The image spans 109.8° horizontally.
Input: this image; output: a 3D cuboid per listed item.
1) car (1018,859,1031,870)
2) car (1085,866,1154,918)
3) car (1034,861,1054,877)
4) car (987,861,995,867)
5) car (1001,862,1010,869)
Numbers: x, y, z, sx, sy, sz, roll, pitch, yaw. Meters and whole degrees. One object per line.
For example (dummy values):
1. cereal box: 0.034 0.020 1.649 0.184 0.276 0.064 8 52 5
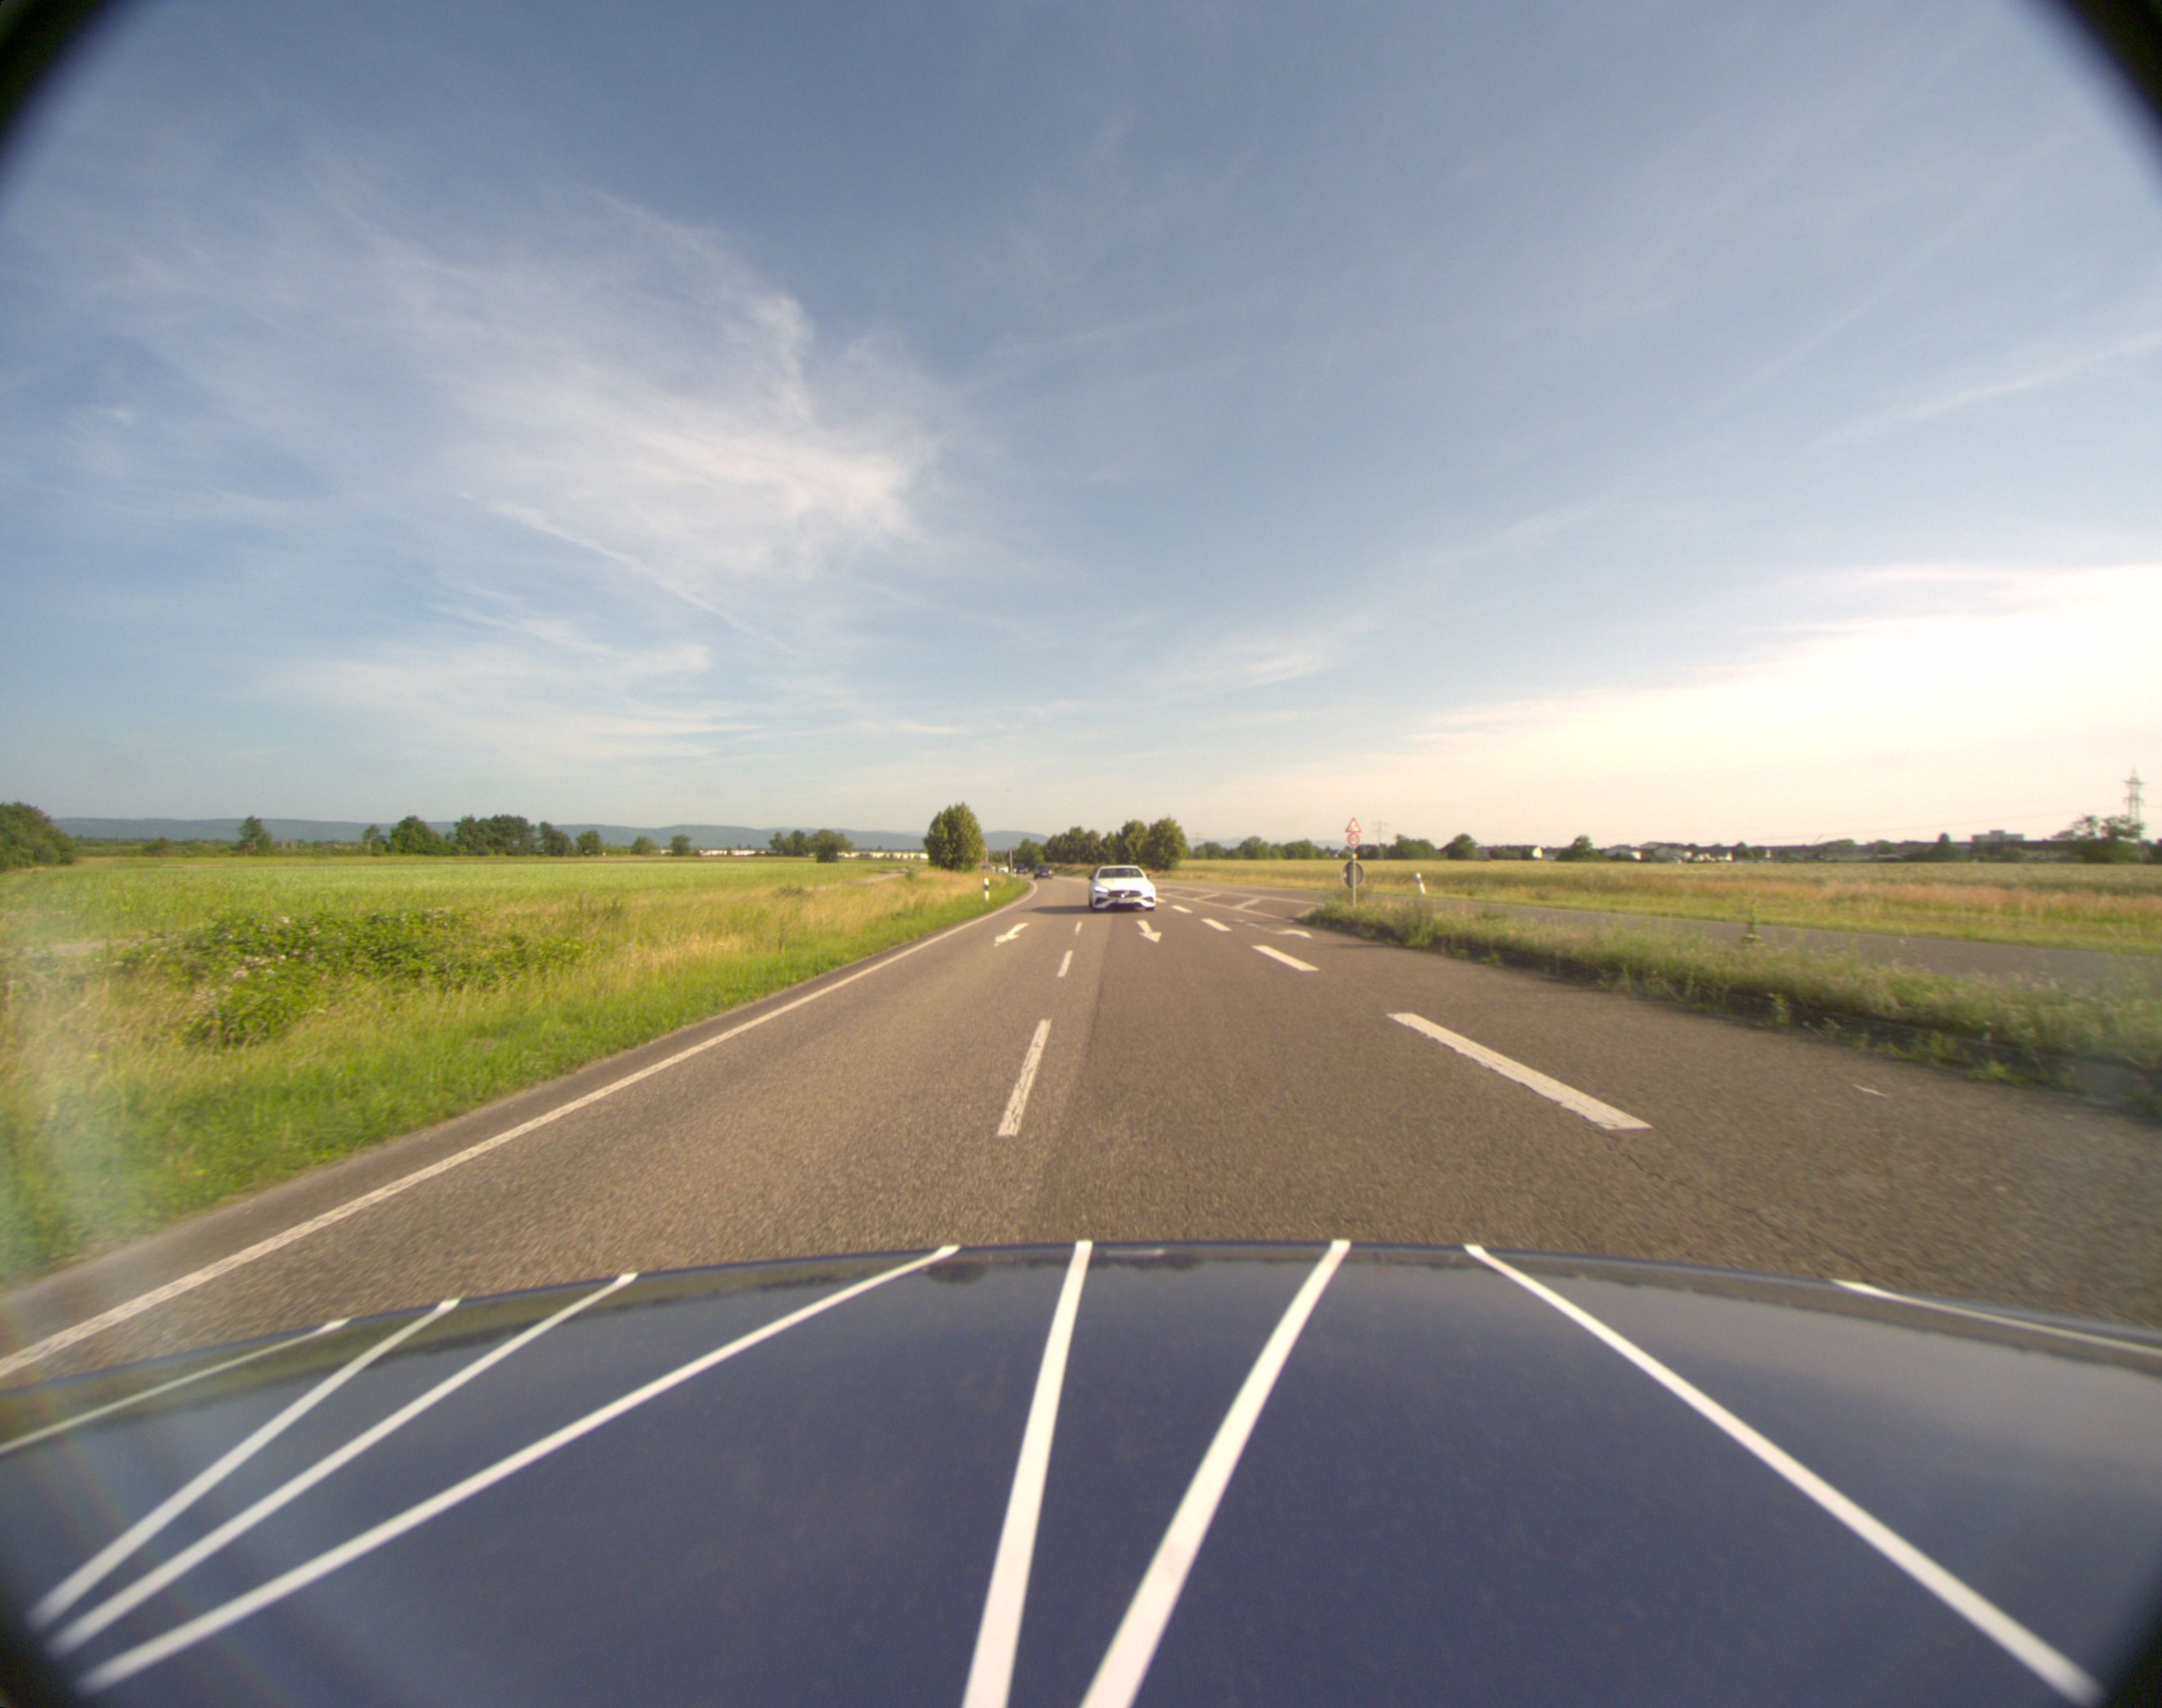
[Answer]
1. car: -8.503 1.611 114.172 1.558 1.550 3.047 -1 0 -9
2. car: 1.259 1.118 23.800 1.940 1.389 3.920 -2 0 4
3. car: -3.693 1.430 75.256 1.586 1.496 3.658 -1 0 -9
4. car: -20.927 2.339 175.691 1.558 1.391 4.032 -1 0 -10
5. car: -14.889 2.247 149.569 1.558 1.391 4.032 -1 0 -9
